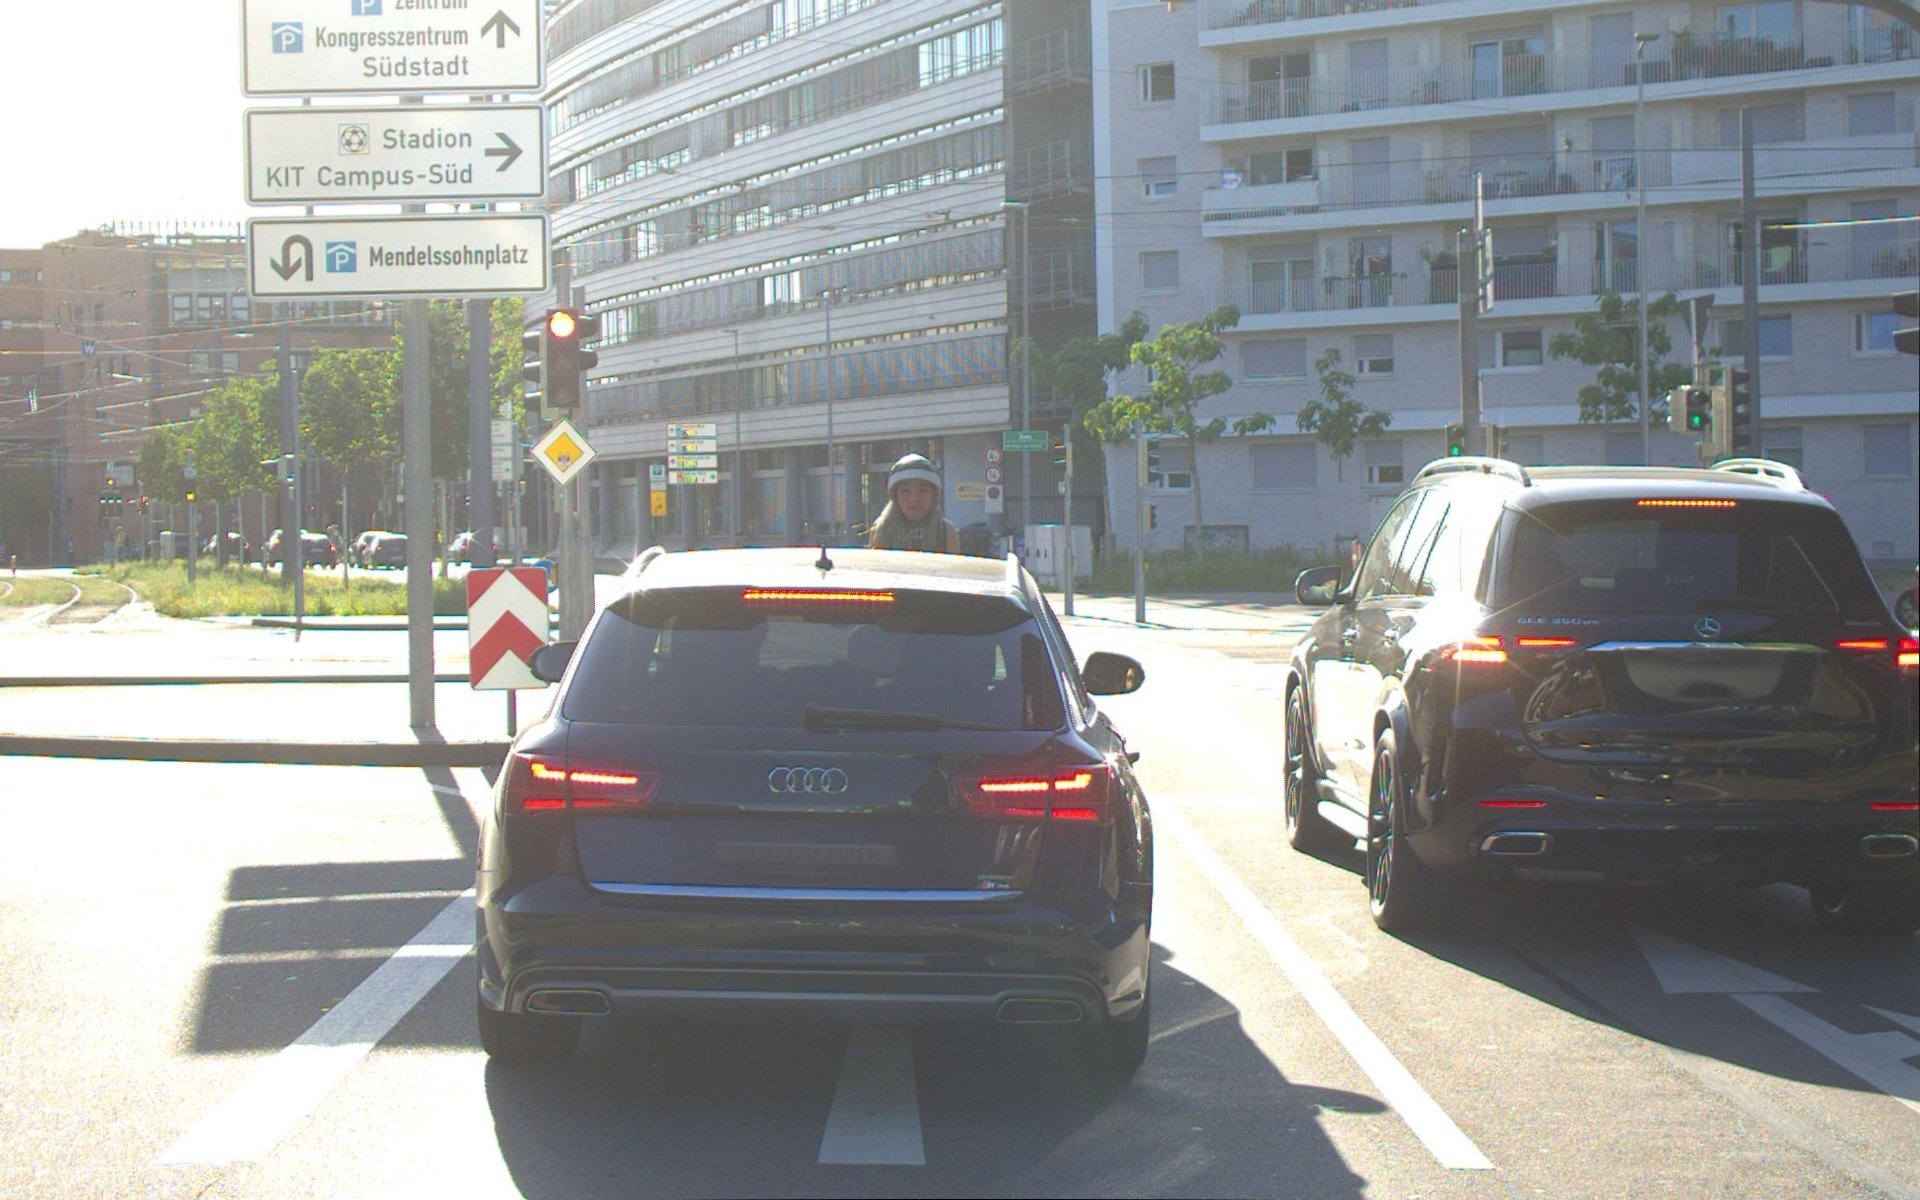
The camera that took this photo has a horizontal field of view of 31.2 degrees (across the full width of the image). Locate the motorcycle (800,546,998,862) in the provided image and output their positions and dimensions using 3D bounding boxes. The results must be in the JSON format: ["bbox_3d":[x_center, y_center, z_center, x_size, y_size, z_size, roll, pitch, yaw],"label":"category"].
[{"bbox_3d":[-0.279,0.449,16.293,0.862,1.388,1.894,-1,1,0],"label":"motorcycle"}]

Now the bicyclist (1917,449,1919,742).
[{"bbox_3d":[5.663,-0.011,18.727,0.654,1.637,0.972,-1,2,3],"label":"bicyclist"}]

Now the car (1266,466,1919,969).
[{"bbox_3d":[2.477,0.342,14.011,2.003,1.709,4.373,1,2,-1],"label":"car"}]

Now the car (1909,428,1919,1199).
[{"bbox_3d":[2.607,0.583,4.082,1.746,1.690,4.261,0,1,0],"label":"car"}]

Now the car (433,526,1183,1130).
[{"bbox_3d":[-0.408,0.525,10.529,1.842,1.449,4.001,1,2,-1],"label":"car"}]

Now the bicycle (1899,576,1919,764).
[{"bbox_3d":[5.676,0.410,18.758,0.654,1.039,1.929,-1,2,3],"label":"bicycle"}]

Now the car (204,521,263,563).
[{"bbox_3d":[-31.422,-2.492,148.585,1.993,1.700,4.001,-2,1,-19],"label":"car"}]

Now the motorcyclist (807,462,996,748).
[{"bbox_3d":[-0.276,0.018,16.362,0.862,1.322,0.681,-1,1,0],"label":"motorcyclist"}]

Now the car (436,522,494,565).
[{"bbox_3d":[-22.041,-2.497,153.038,1.993,1.831,4.001,-2,1,-16],"label":"car"}]

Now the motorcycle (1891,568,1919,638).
[{"bbox_3d":[15.111,0.020,50.658,2.452,0.997,1.172,-1,1,-1],"label":"motorcycle"}]

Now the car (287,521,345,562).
[{"bbox_3d":[-26.810,-2.413,143.045,1.993,1.590,4.001,-2,1,-16],"label":"car"}]

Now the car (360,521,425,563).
[{"bbox_3d":[-23.236,-2.366,140.684,1.993,1.590,4.001,-2,1,-18],"label":"car"}]

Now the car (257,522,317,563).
[{"bbox_3d":[-29.254,-2.490,149.384,1.993,1.700,4.001,-2,1,-19],"label":"car"}]
